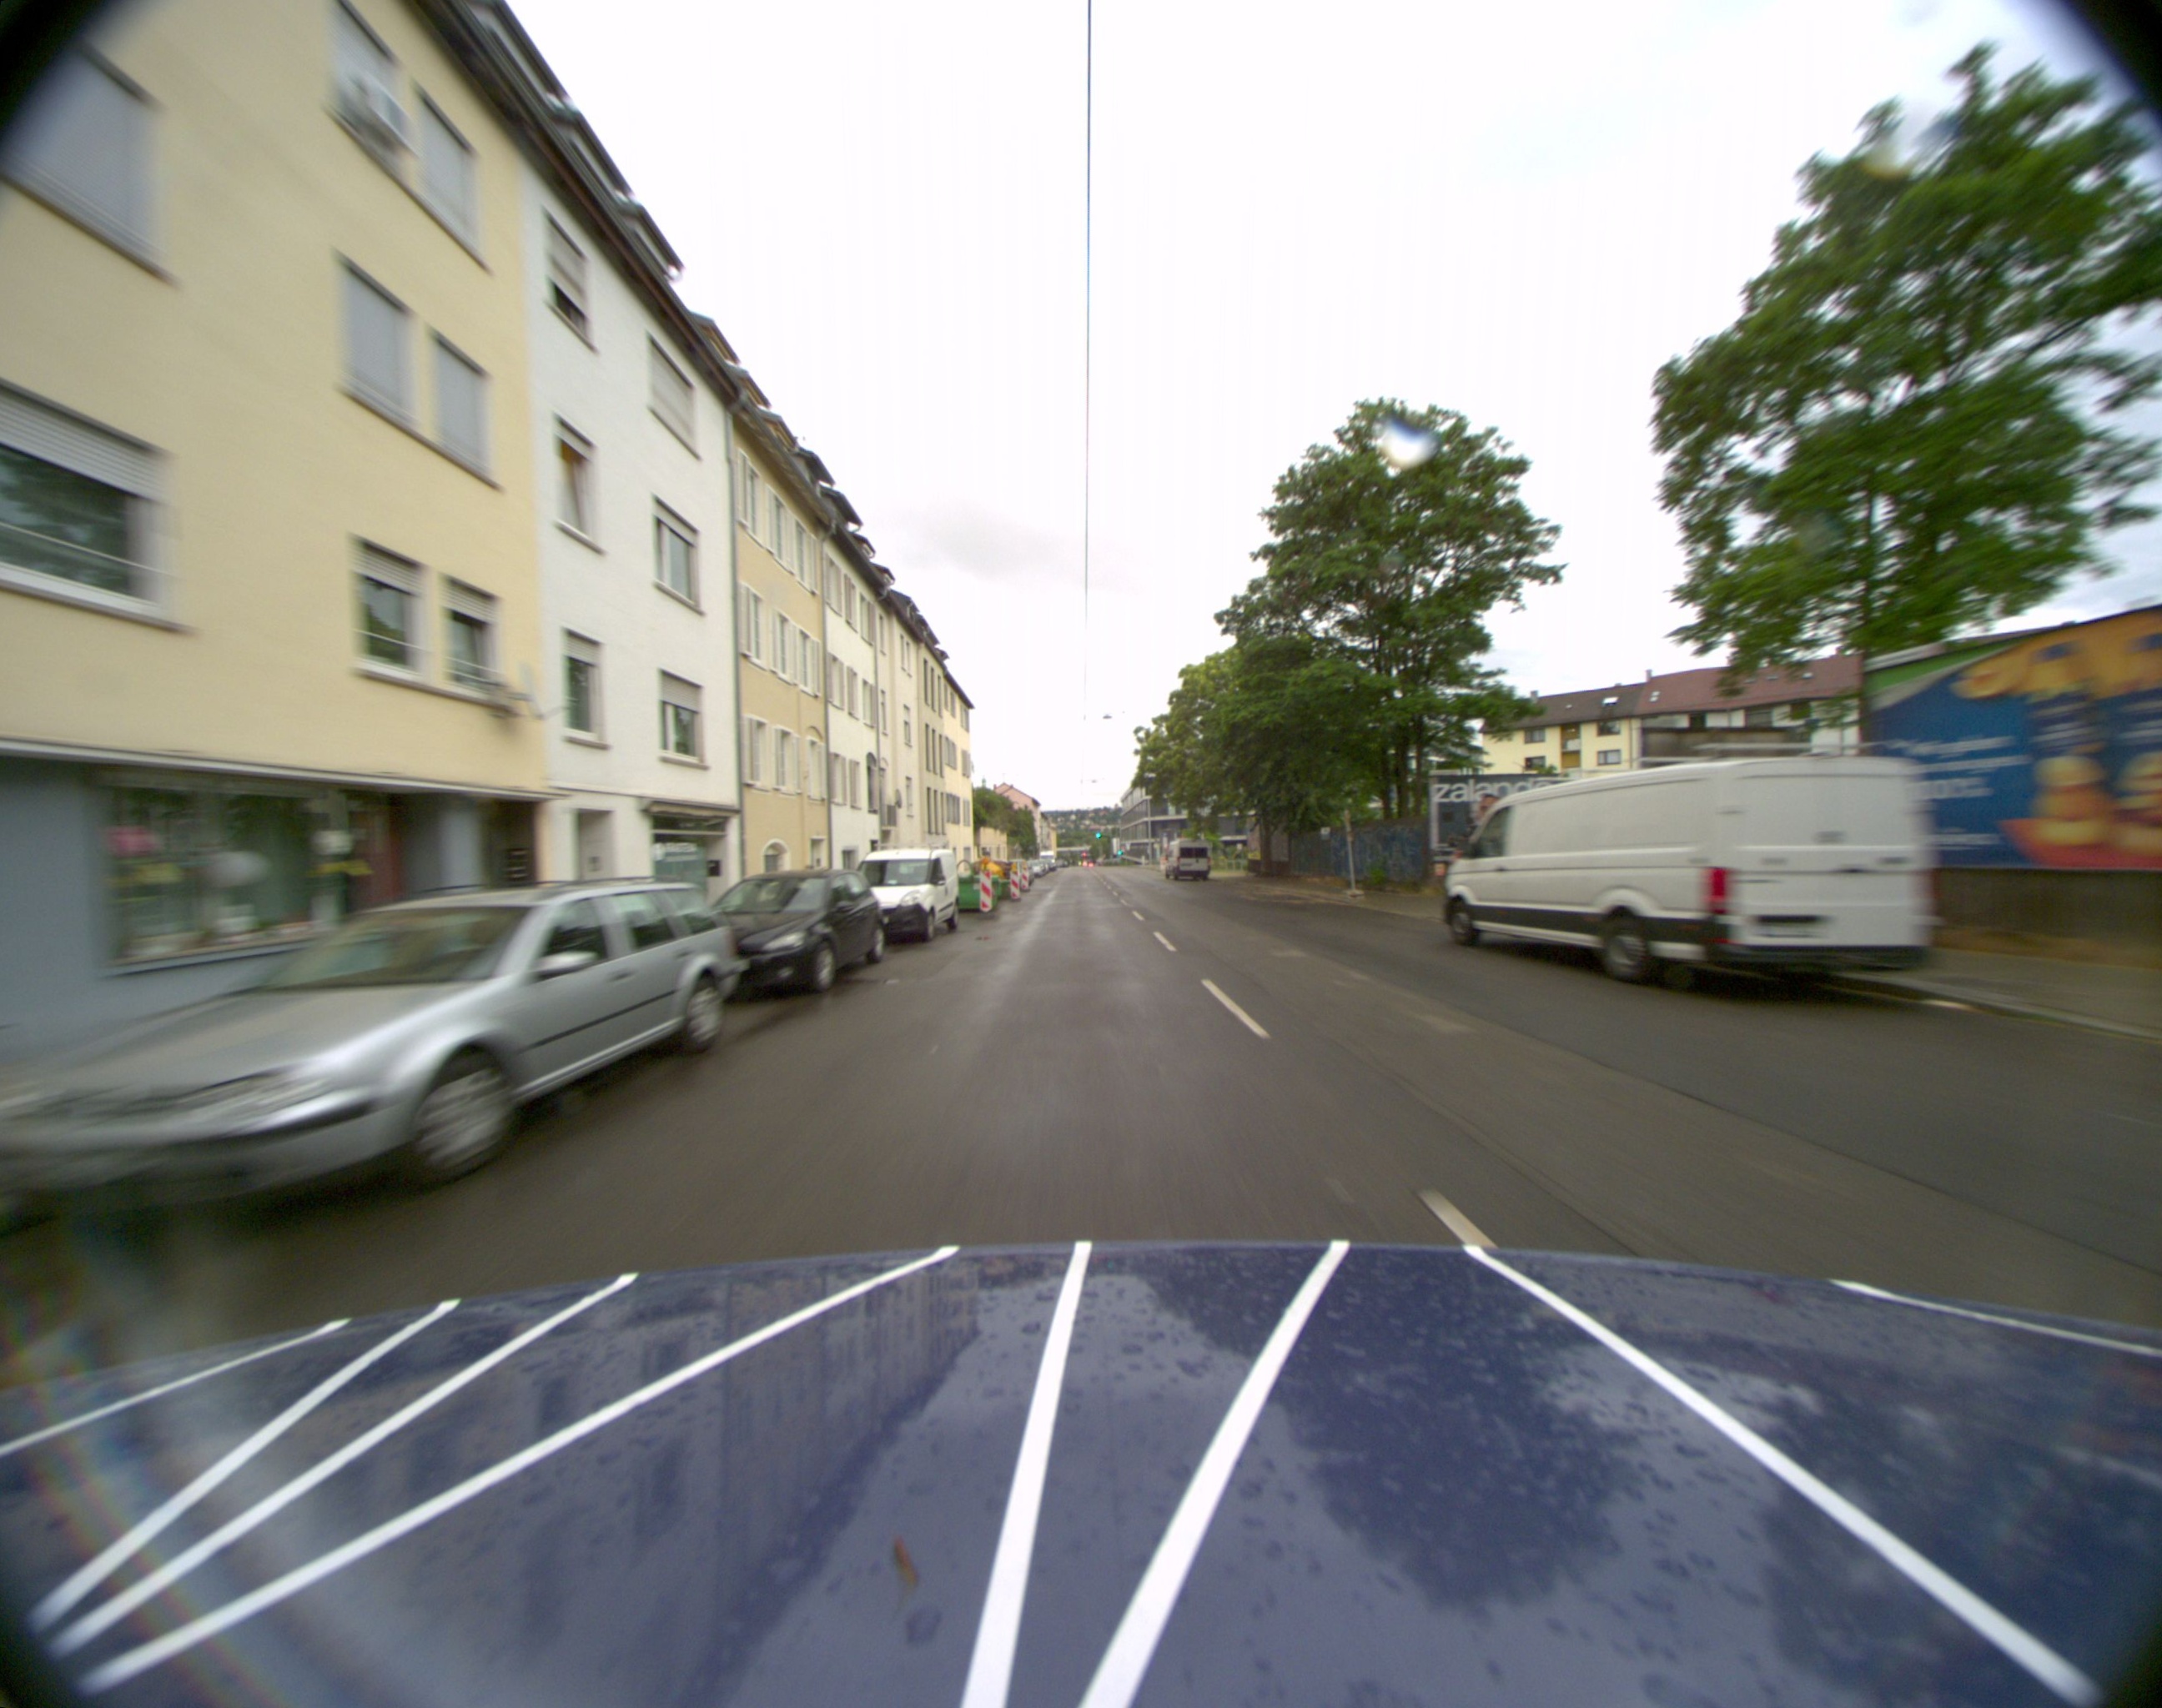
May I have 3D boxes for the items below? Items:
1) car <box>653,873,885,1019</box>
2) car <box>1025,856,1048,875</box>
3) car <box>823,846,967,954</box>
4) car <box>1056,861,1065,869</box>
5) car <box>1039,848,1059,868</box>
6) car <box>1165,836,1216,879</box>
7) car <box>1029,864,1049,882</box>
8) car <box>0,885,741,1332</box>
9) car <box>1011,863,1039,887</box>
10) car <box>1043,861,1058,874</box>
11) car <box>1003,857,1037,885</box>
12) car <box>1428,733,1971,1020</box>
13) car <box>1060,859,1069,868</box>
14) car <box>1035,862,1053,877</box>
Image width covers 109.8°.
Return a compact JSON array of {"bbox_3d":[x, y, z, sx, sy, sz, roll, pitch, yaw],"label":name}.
[{"bbox_3d":[-3.851,1.048,10.025,1.581,1.462,3.501,-2,0,0],"label":"car"},{"bbox_3d":[-3.678,0.957,62.885,1.633,1.445,3.759,-3,0,-1],"label":"car"},{"bbox_3d":[-3.708,0.835,15.962,1.822,1.913,4.239,-2,0,2],"label":"car"},{"bbox_3d":[-3.947,2.205,149.495,1.630,1.402,3.778,-2,-1,0],"label":"car"},{"bbox_3d":[-4.067,0.488,98.776,2.211,2.449,6.080,-3,0,0],"label":"car"},{"bbox_3d":[6.872,0.199,48.603,2.236,2.564,6.537,0,0,-1],"label":"car"},{"bbox_3d":[-3.768,1.685,68.547,1.633,1.445,3.759,-3,0,-1],"label":"car"},{"bbox_3d":[-3.965,1.048,4.893,1.667,1.491,4.097,-2,0,0],"label":"car"},{"bbox_3d":[-3.729,1.384,50.891,1.562,1.445,3.759,-3,0,-1],"label":"car"},{"bbox_3d":[-3.645,1.589,91.120,1.693,1.445,4.235,-3,0,-1],"label":"car"},{"bbox_3d":[-3.629,0.967,45.642,1.721,1.515,3.999,-3,0,-2],"label":"car"},{"bbox_3d":[6.728,0.205,9.571,2.017,2.472,5.983,-1,0,1],"label":"car"},{"bbox_3d":[-3.354,2.025,154.602,1.630,1.740,3.778,-2,-1,0],"label":"car"},{"bbox_3d":[-3.877,1.602,79.830,1.693,1.445,4.235,-3,0,-1],"label":"car"}]
